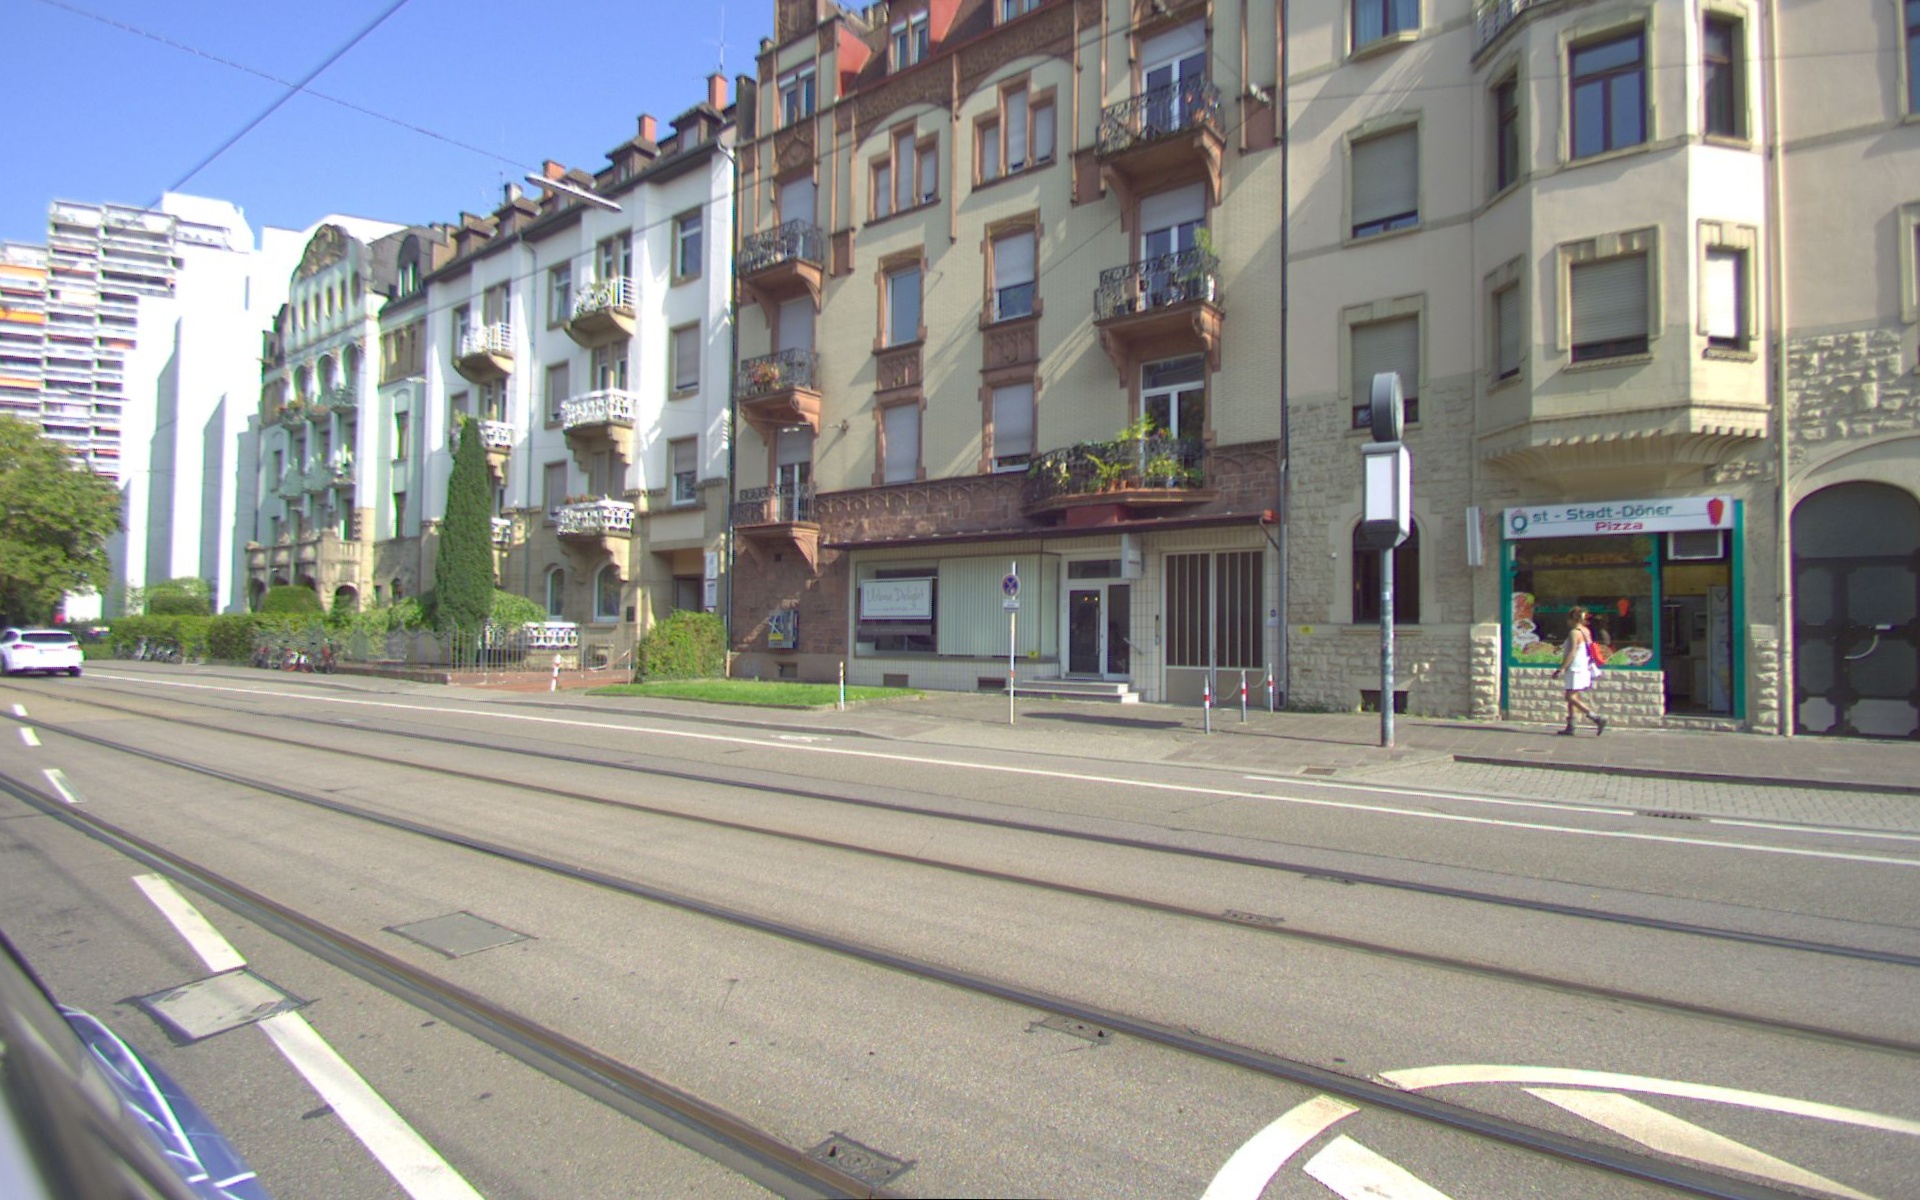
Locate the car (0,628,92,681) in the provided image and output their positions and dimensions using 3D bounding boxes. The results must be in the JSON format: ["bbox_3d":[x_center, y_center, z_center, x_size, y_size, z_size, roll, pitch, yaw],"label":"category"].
[{"bbox_3d":[-28.376,1.637,30.789,4.535,1.466,1.856,-1,-6,35],"label":"car"}]

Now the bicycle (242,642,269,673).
[{"bbox_3d":[-25.119,2.040,36.093,1.353,1.096,0.366,-2,-4,38],"label":"bicycle"}]

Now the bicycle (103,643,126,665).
[{"bbox_3d":[-39.520,2.522,47.278,1.767,0.985,0.420,-2,-3,37],"label":"bicycle"}]

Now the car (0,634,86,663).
[{"bbox_3d":[-51.510,2.724,56.924,1.743,1.539,4.008,1,-3,-11],"label":"car"}]

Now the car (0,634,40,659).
[{"bbox_3d":[-59.795,2.910,63.056,1.743,1.539,4.008,1,-3,-11],"label":"car"}]

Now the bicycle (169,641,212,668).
[{"bbox_3d":[-31.920,2.252,42.000,0.423,1.096,1.386,-1,-3,20],"label":"bicycle"}]

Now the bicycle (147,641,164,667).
[{"bbox_3d":[-34.626,2.316,43.565,0.419,1.096,1.678,3,-4,-43],"label":"bicycle"}]

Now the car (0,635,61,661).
[{"bbox_3d":[-57.221,2.898,61.721,1.743,1.539,4.008,1,-3,-11],"label":"car"}]

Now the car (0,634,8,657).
[{"bbox_3d":[-66.850,3.056,68.380,1.743,1.539,4.008,1,-3,-11],"label":"car"}]

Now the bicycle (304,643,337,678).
[{"bbox_3d":[-20.278,1.903,32.065,1.485,1.096,0.366,-2,-4,38],"label":"bicycle"}]

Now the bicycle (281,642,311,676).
[{"bbox_3d":[-21.717,1.930,33.102,1.353,1.096,0.366,-2,-4,38],"label":"bicycle"}]

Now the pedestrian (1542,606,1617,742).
[{"bbox_3d":[8.946,1.048,14.612,0.829,1.874,0.766,-1,-3,36],"label":"pedestrian"}]

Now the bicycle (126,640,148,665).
[{"bbox_3d":[-36.845,2.360,45.300,1.675,1.096,0.420,-2,-4,41],"label":"bicycle"}]

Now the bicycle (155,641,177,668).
[{"bbox_3d":[-33.081,2.280,42.142,1.676,1.096,0.420,-2,-4,43],"label":"bicycle"}]

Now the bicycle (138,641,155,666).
[{"bbox_3d":[-35.350,2.316,43.953,0.419,1.096,1.678,3,-4,-43],"label":"bicycle"}]

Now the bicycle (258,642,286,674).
[{"bbox_3d":[-23.768,1.991,34.951,1.353,1.096,0.366,-2,-4,38],"label":"bicycle"}]
